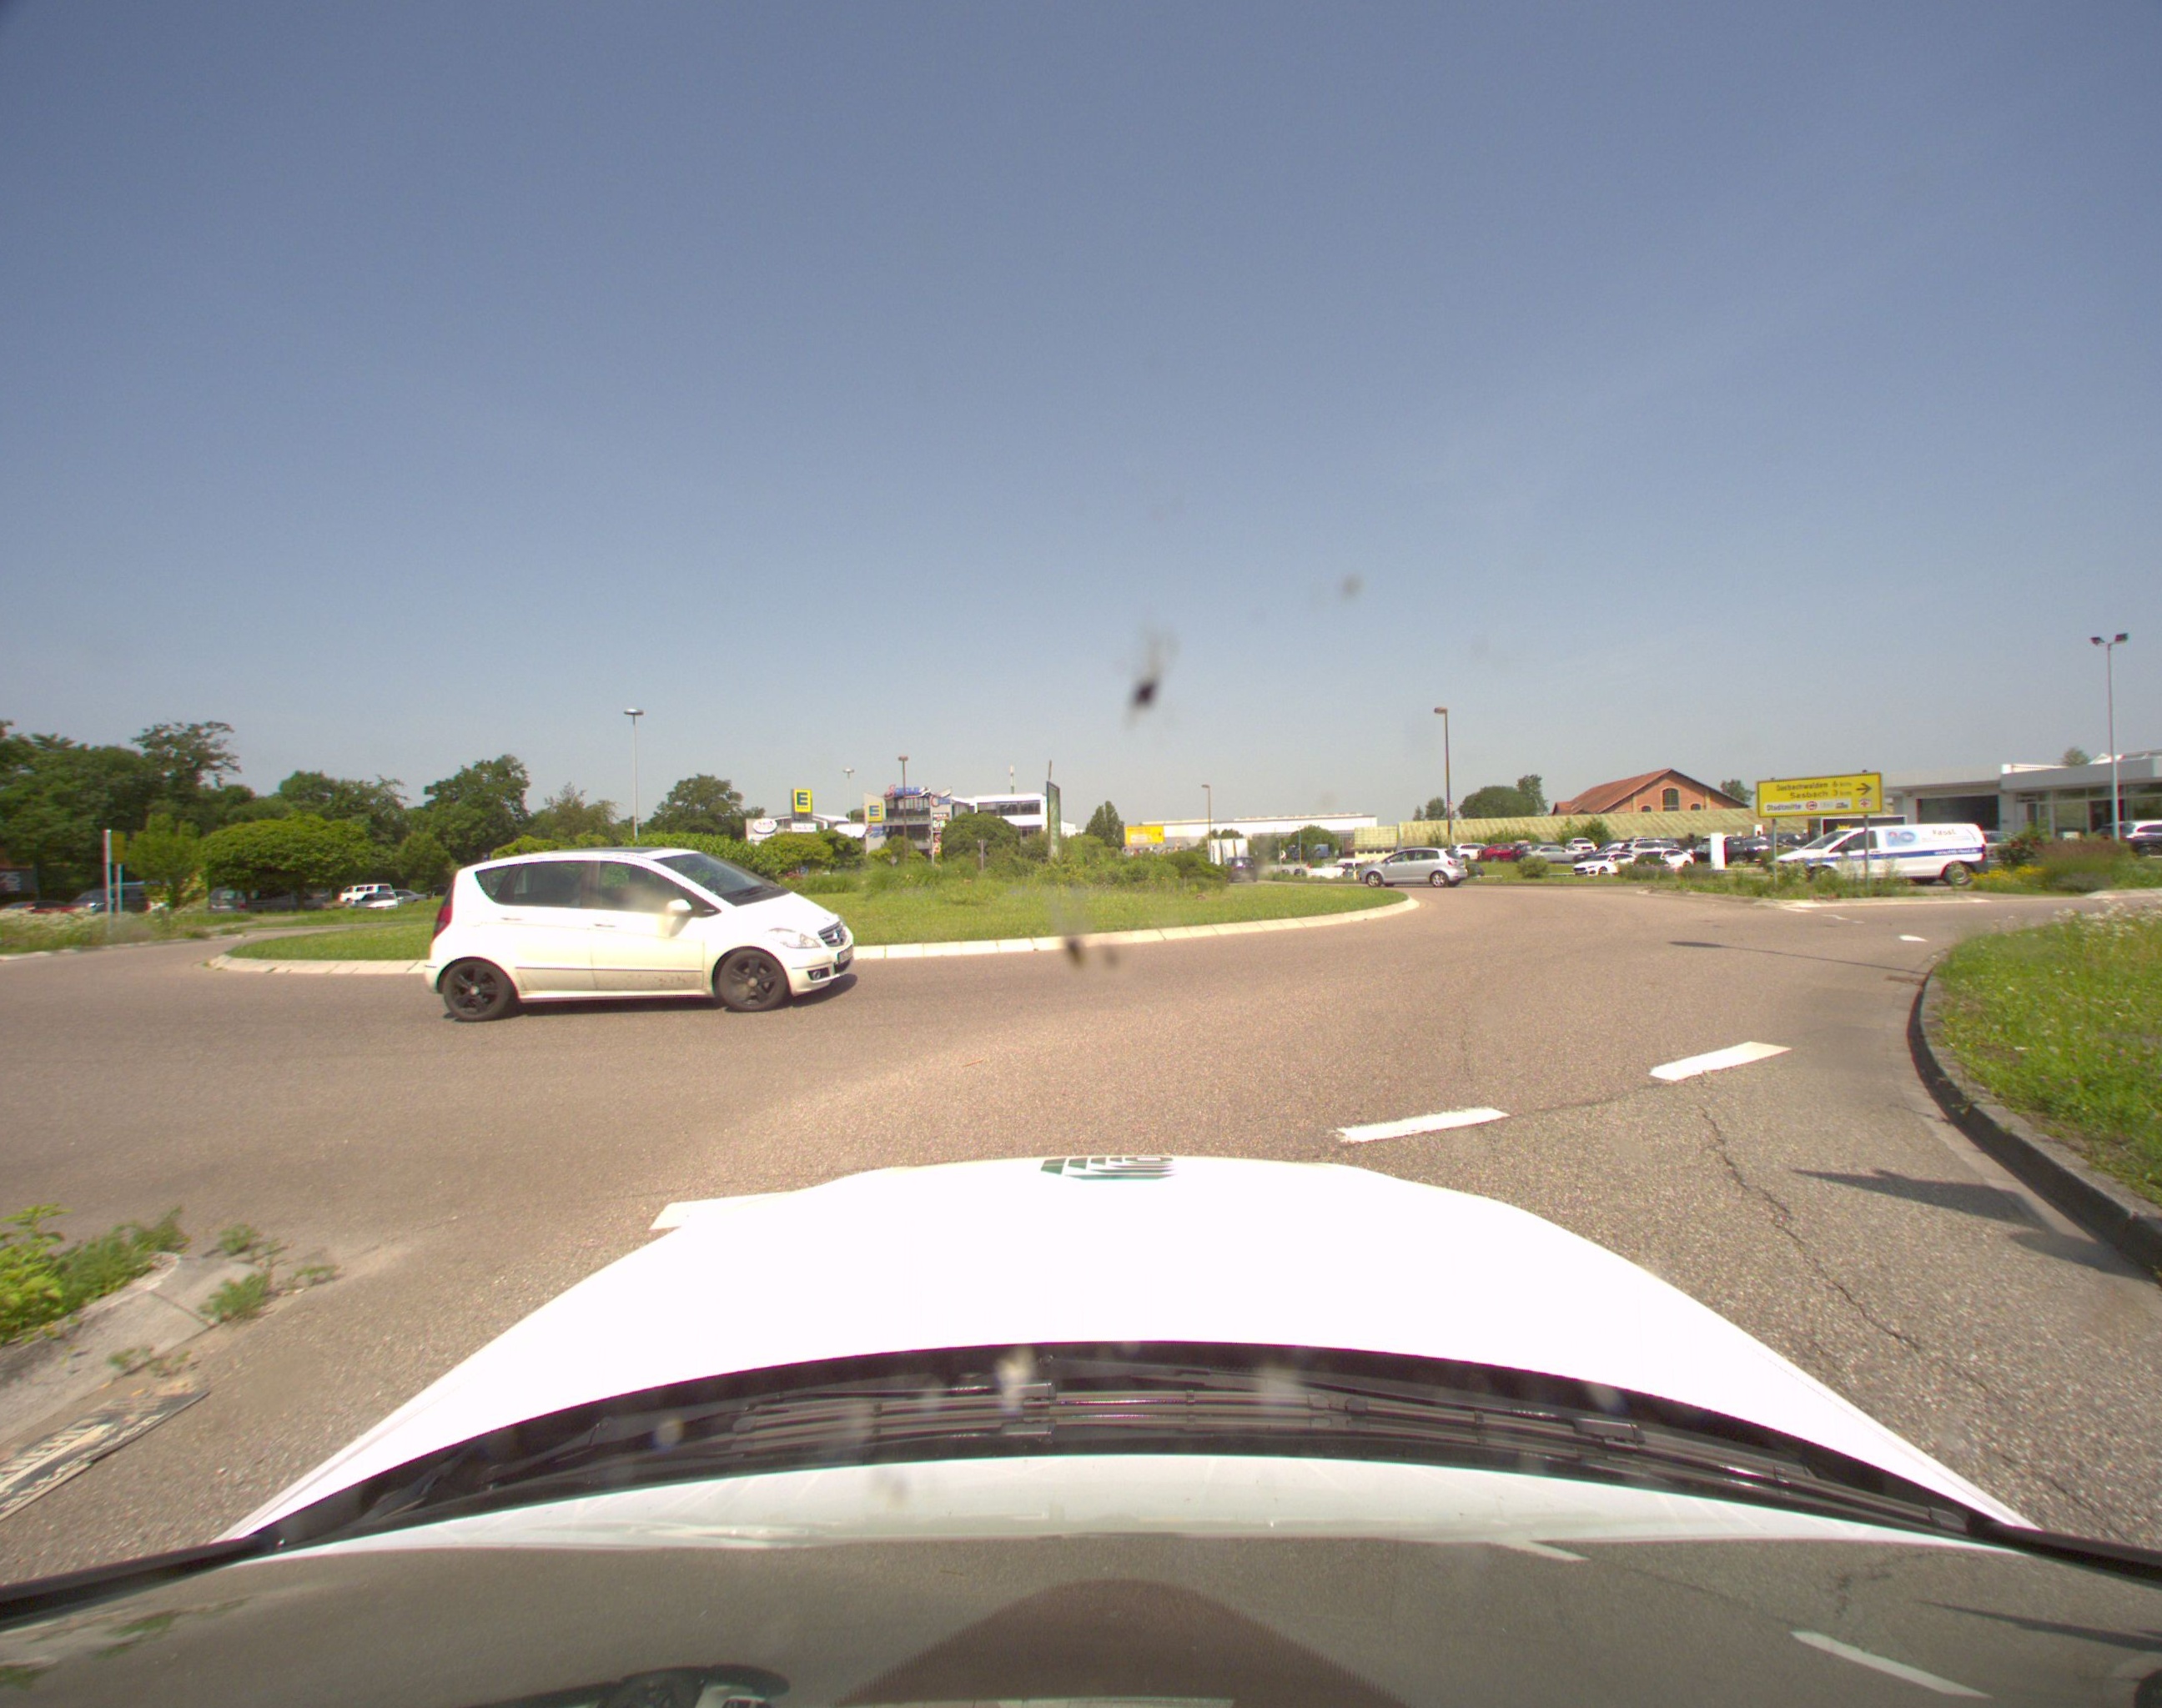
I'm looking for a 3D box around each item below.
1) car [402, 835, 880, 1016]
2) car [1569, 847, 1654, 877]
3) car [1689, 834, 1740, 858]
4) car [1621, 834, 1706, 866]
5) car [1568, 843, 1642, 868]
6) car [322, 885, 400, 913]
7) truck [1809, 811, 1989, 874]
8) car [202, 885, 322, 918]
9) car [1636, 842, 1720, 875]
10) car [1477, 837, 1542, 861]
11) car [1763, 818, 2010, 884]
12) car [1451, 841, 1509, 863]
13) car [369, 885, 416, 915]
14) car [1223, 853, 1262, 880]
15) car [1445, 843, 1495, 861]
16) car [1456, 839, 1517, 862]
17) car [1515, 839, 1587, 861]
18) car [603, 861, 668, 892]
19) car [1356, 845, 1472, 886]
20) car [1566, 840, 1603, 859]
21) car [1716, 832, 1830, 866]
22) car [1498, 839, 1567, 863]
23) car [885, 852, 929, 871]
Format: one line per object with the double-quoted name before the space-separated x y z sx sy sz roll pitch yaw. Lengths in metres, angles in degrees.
"car" -4.256 0.636 8.360 3.867 1.603 1.787 -1 1 0
"car" 32.336 0.496 49.627 4.574 1.570 1.758 -3 -2 -17
"car" 45.524 -0.596 58.532 4.286 1.586 1.640 -2 0 -35
"car" 37.557 -0.253 52.618 3.964 1.750 1.958 -4 -1 17
"car" 36.014 0.093 56.053 3.960 1.526 1.960 -3 0 23
"car" -40.618 2.520 46.001 2.830 1.498 1.578 0 -1 -14
"truck" 38.314 -0.499 38.358 5.559 2.665 1.960 -3 -1 22
"car" -42.998 2.447 42.922 1.865 1.561 4.404 0 -1 -1
"car" 35.107 0.289 47.872 4.671 1.570 1.755 -4 0 -23
"car" 35.360 -0.377 67.341 4.418 1.747 1.958 -2 -1 17
"car" 24.990 -0.037 25.559 5.167 1.938 1.871 -1 -1 22
"car" 35.517 -0.180 72.603 4.418 1.747 1.847 -2 -1 17
"car" -37.102 2.441 43.839 1.595 1.498 4.509 1 -2 -45
"car" 9.557 0.781 48.511 1.771 1.530 4.004 -1 -1 4
"car" 35.756 -0.189 74.978 3.845 1.532 1.776 -2 -1 17
"car" 34.869 -0.311 70.080 4.418 1.747 1.847 -2 -1 17
"car" 35.602 -0.285 61.800 4.418 1.500 1.958 -2 0 17
"car" -29.643 1.500 54.344 1.677 2.014 4.010 -1 -1 9
"car" 13.356 0.481 32.704 4.033 1.530 1.796 -1 -2 32
"car" 46.266 -0.425 74.920 1.901 1.596 4.325 -3 -1 19
"car" 38.731 -0.257 45.728 4.377 1.500 1.958 -5 -2 17
"car" 35.638 -0.238 64.373 4.418 1.635 1.958 -2 -1 17
"car" -15.005 0.670 70.230 3.286 1.574 1.563 -2 -2 17
